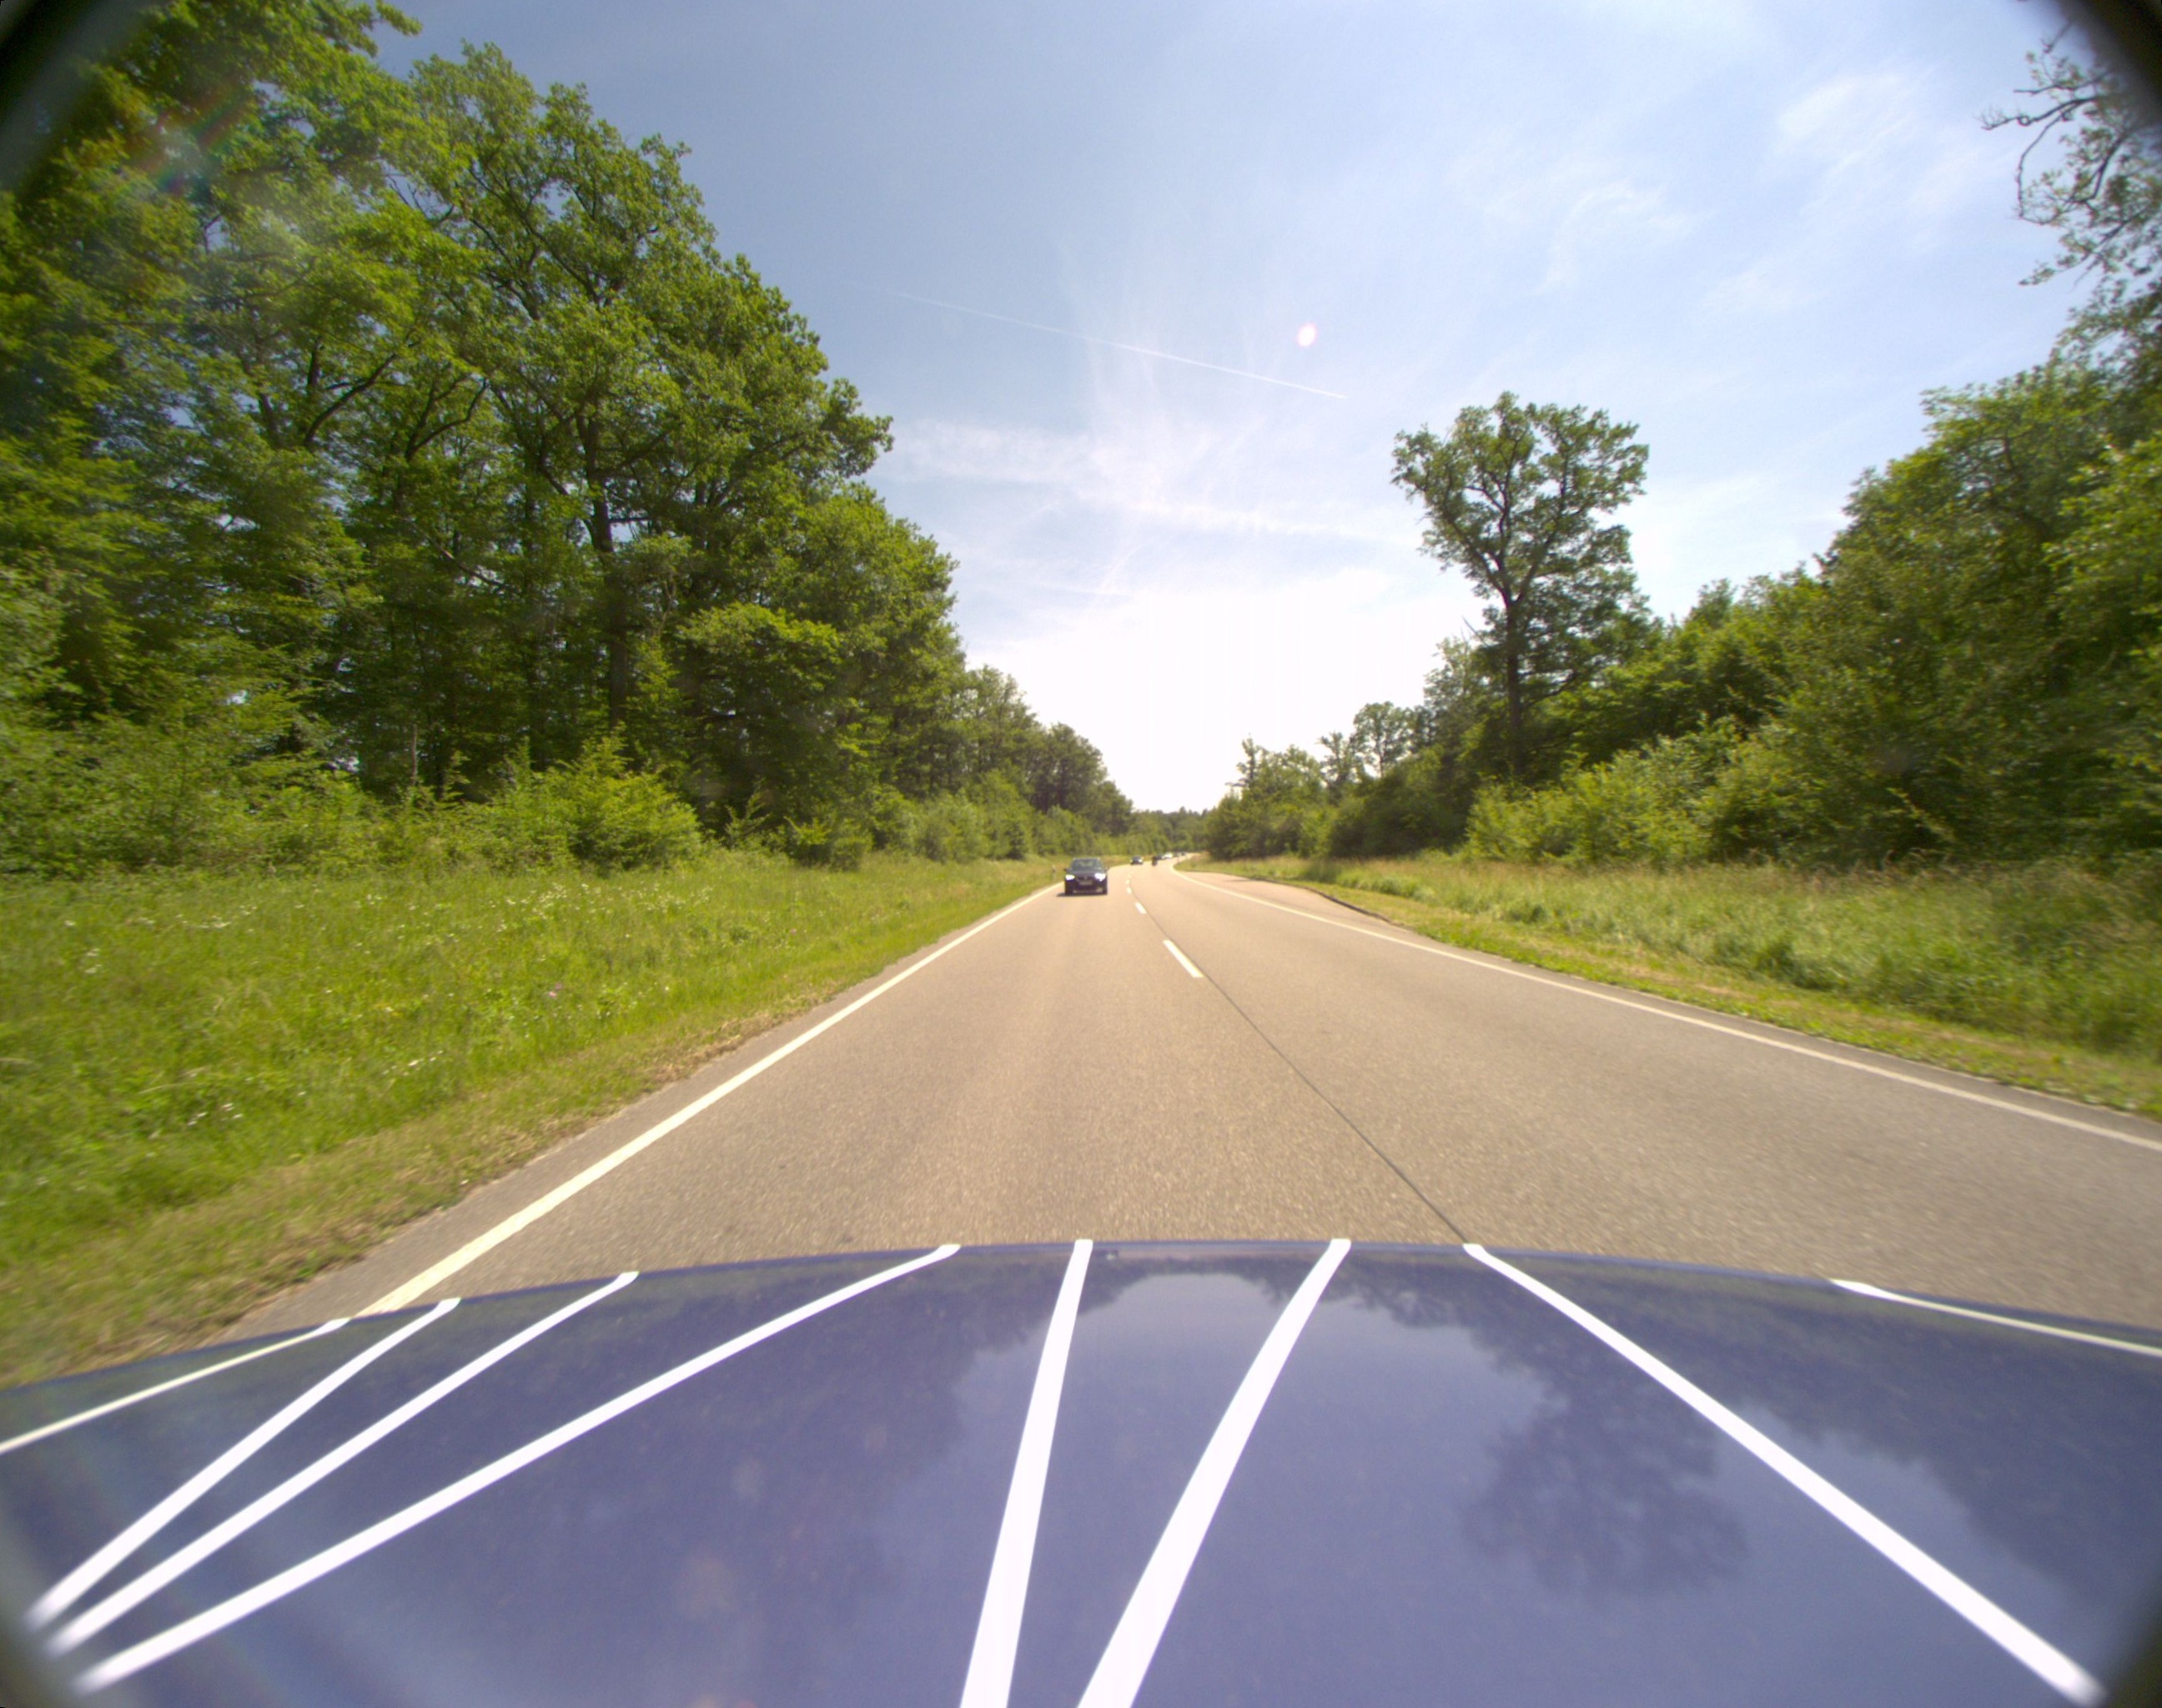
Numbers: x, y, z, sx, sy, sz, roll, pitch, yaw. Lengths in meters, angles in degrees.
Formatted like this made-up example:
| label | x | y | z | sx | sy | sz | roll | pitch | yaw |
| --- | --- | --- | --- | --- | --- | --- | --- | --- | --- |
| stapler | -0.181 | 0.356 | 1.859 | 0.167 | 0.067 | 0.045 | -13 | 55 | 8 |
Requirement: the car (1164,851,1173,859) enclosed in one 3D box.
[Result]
| label | x | y | z | sx | sy | sz | roll | pitch | yaw |
| --- | --- | --- | --- | --- | --- | --- | --- | --- | --- |
| car | 22.545 | 0.240 | 195.904 | 2.018 | 1.737 | 4.383 | -2 | 0 | 9 |

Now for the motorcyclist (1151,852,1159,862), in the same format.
| label | x | y | z | sx | sy | sz | roll | pitch | yaw |
| --- | --- | --- | --- | --- | --- | --- | --- | --- | --- |
| motorcyclist | 9.749 | 0.370 | 99.717 | 1.011 | 1.319 | 0.966 | -2 | 1 | 7 |

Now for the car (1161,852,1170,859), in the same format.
| label | x | y | z | sx | sy | sz | roll | pitch | yaw |
| --- | --- | --- | --- | --- | --- | --- | --- | --- | --- |
| car | 18.685 | 0.391 | 167.604 | 1.775 | 1.454 | 4.002 | -2 | 0 | 8 |

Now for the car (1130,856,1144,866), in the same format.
| label | x | y | z | sx | sy | sz | roll | pitch | yaw |
| --- | --- | --- | --- | --- | --- | --- | --- | --- | --- |
| car | 8.777 | 1.085 | 119.410 | 1.775 | 1.454 | 3.951 | -2 | 0 | 9 |

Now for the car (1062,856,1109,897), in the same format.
| label | x | y | z | sx | sy | sz | roll | pitch | yaw |
| --- | --- | --- | --- | --- | --- | --- | --- | --- | --- |
| car | 0.261 | 0.891 | 32.146 | 1.713 | 1.516 | 4.242 | -1 | 1 | 3 |

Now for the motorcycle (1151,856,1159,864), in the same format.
| label | x | y | z | sx | sy | sz | roll | pitch | yaw |
| --- | --- | --- | --- | --- | --- | --- | --- | --- | --- |
| motorcycle | 9.755 | 0.748 | 99.687 | 1.016 | 1.056 | 2.773 | -1 | 0 | 7 |

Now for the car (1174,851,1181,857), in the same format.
| label | x | y | z | sx | sy | sz | roll | pitch | yaw |
| --- | --- | --- | --- | --- | --- | --- | --- | --- | --- |
| car | 29.045 | 0.087 | 228.110 | 1.691 | 1.718 | 4.003 | -2 | 1 | 10 |
